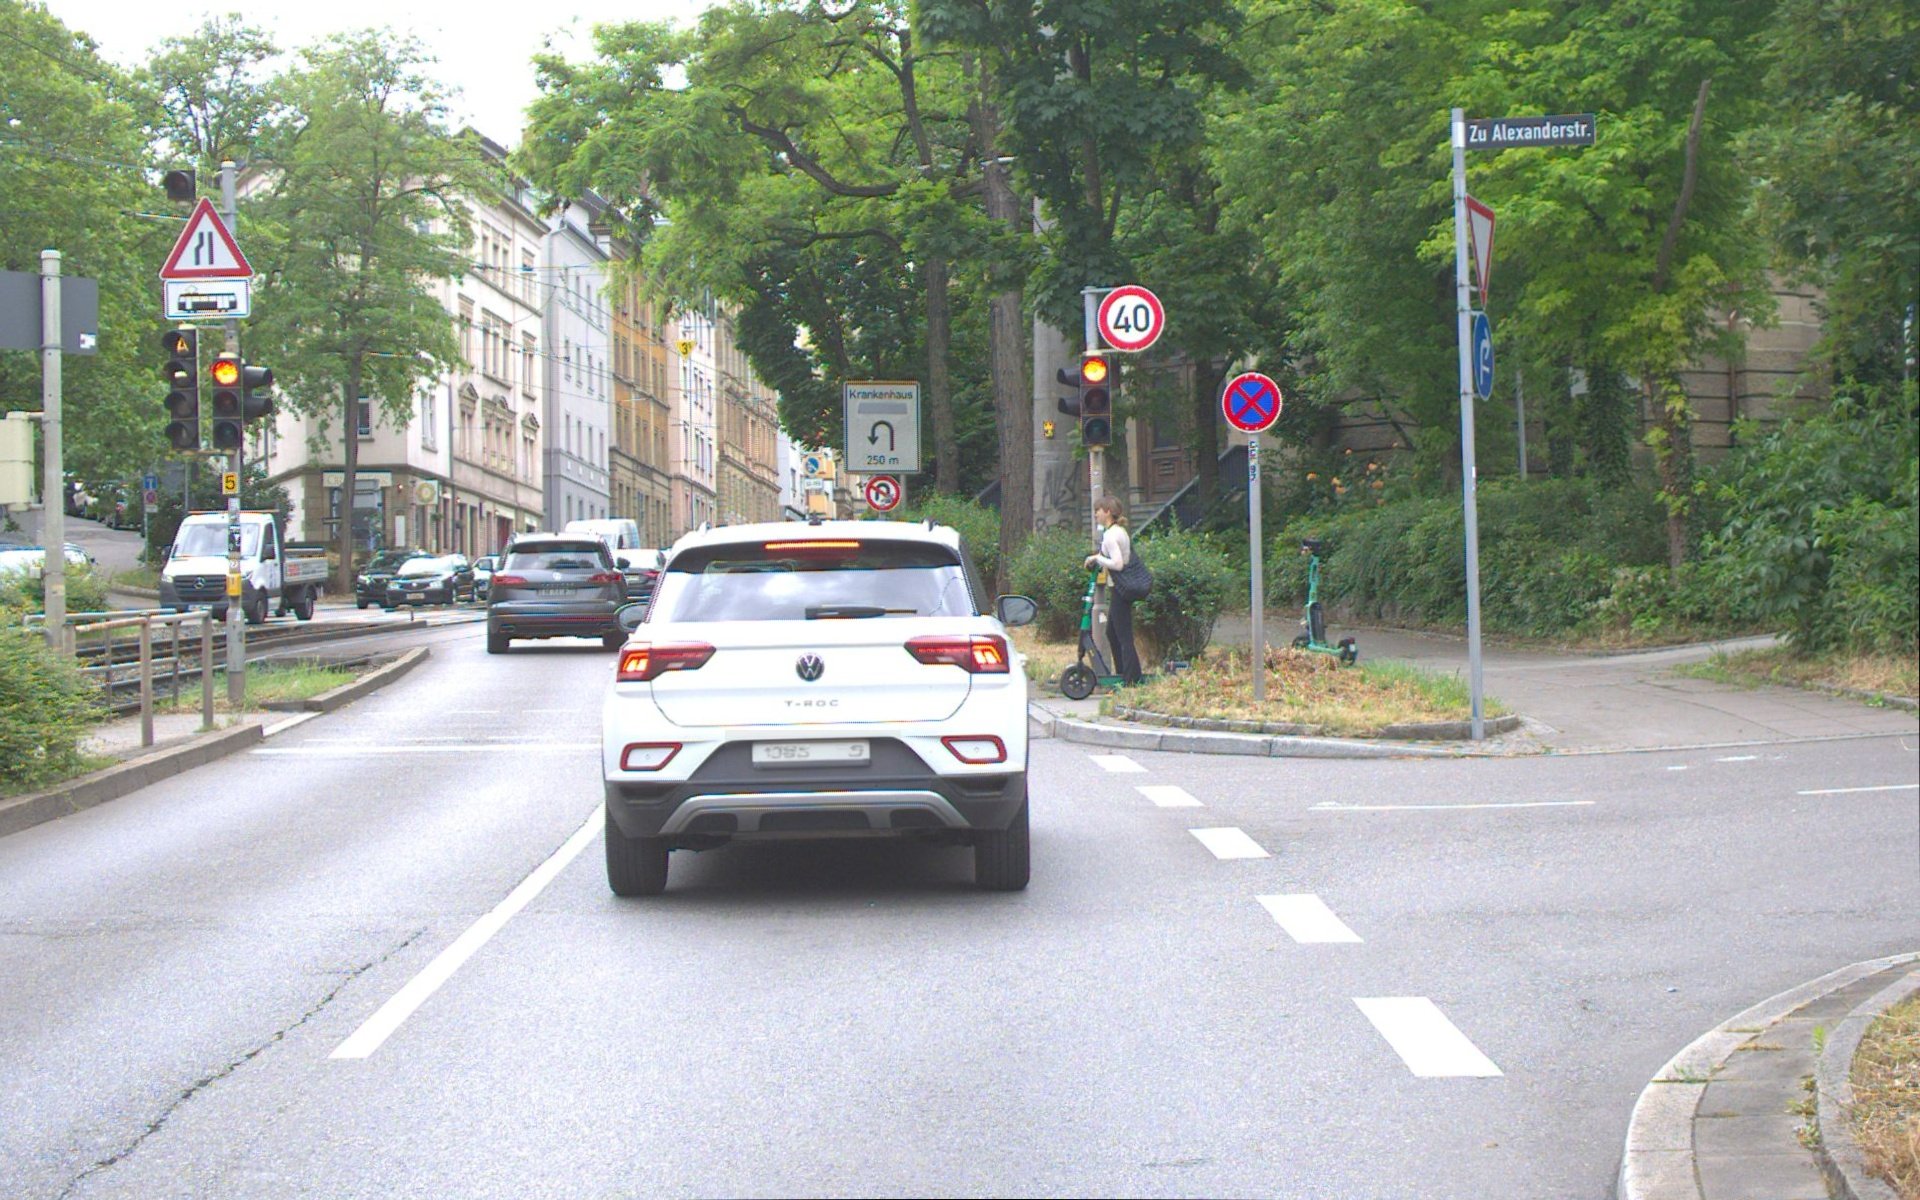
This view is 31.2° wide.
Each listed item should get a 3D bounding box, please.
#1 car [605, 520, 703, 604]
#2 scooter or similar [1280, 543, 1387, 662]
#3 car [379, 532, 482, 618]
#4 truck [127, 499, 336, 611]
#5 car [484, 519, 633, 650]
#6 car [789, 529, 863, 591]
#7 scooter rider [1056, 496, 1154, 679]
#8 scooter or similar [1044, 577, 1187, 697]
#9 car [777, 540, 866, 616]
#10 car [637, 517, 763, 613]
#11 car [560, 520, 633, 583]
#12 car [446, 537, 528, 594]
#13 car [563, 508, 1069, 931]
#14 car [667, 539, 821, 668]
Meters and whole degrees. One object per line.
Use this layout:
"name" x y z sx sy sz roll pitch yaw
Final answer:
"car" -6.725 -0.847 75.814 1.826 1.751 3.780 2 1 -1
"scooter or similar" 3.549 0.015 32.780 0.474 1.096 1.369 -2 1 -17
"car" -13.583 -0.614 88.399 1.993 2.007 4.000 2 -2 0
"truck" -15.055 -0.942 71.444 2.422 2.162 6.032 2 1 6
"car" -5.646 -0.255 48.688 1.839 1.733 4.001 0 2 -3
"car" -4.857 -1.471 125.709 2.422 2.162 6.034 -1 1 0
"scooter rider" 1.255 -0.109 29.827 0.777 1.552 0.532 -2 1 -1
"scooter or similar" 1.343 0.313 29.848 1.187 0.991 0.531 -2 1 0
"car" -4.163 -0.700 104.300 2.422 2.162 6.034 -1 1 0
"car" -4.616 -0.637 61.564 1.993 1.617 4.000 -1 1 -1
"car" -12.069 -1.613 114.424 1.993 2.007 4.000 -2 1 -1
"car" -14.873 -1.071 108.294 1.993 1.618 4.000 2 -2 0
"car" -0.687 0.414 15.545 1.938 1.561 4.047 -2 2 -4
"car" -2.917 0.082 45.819 1.902 1.569 3.834 2 -2 -5
